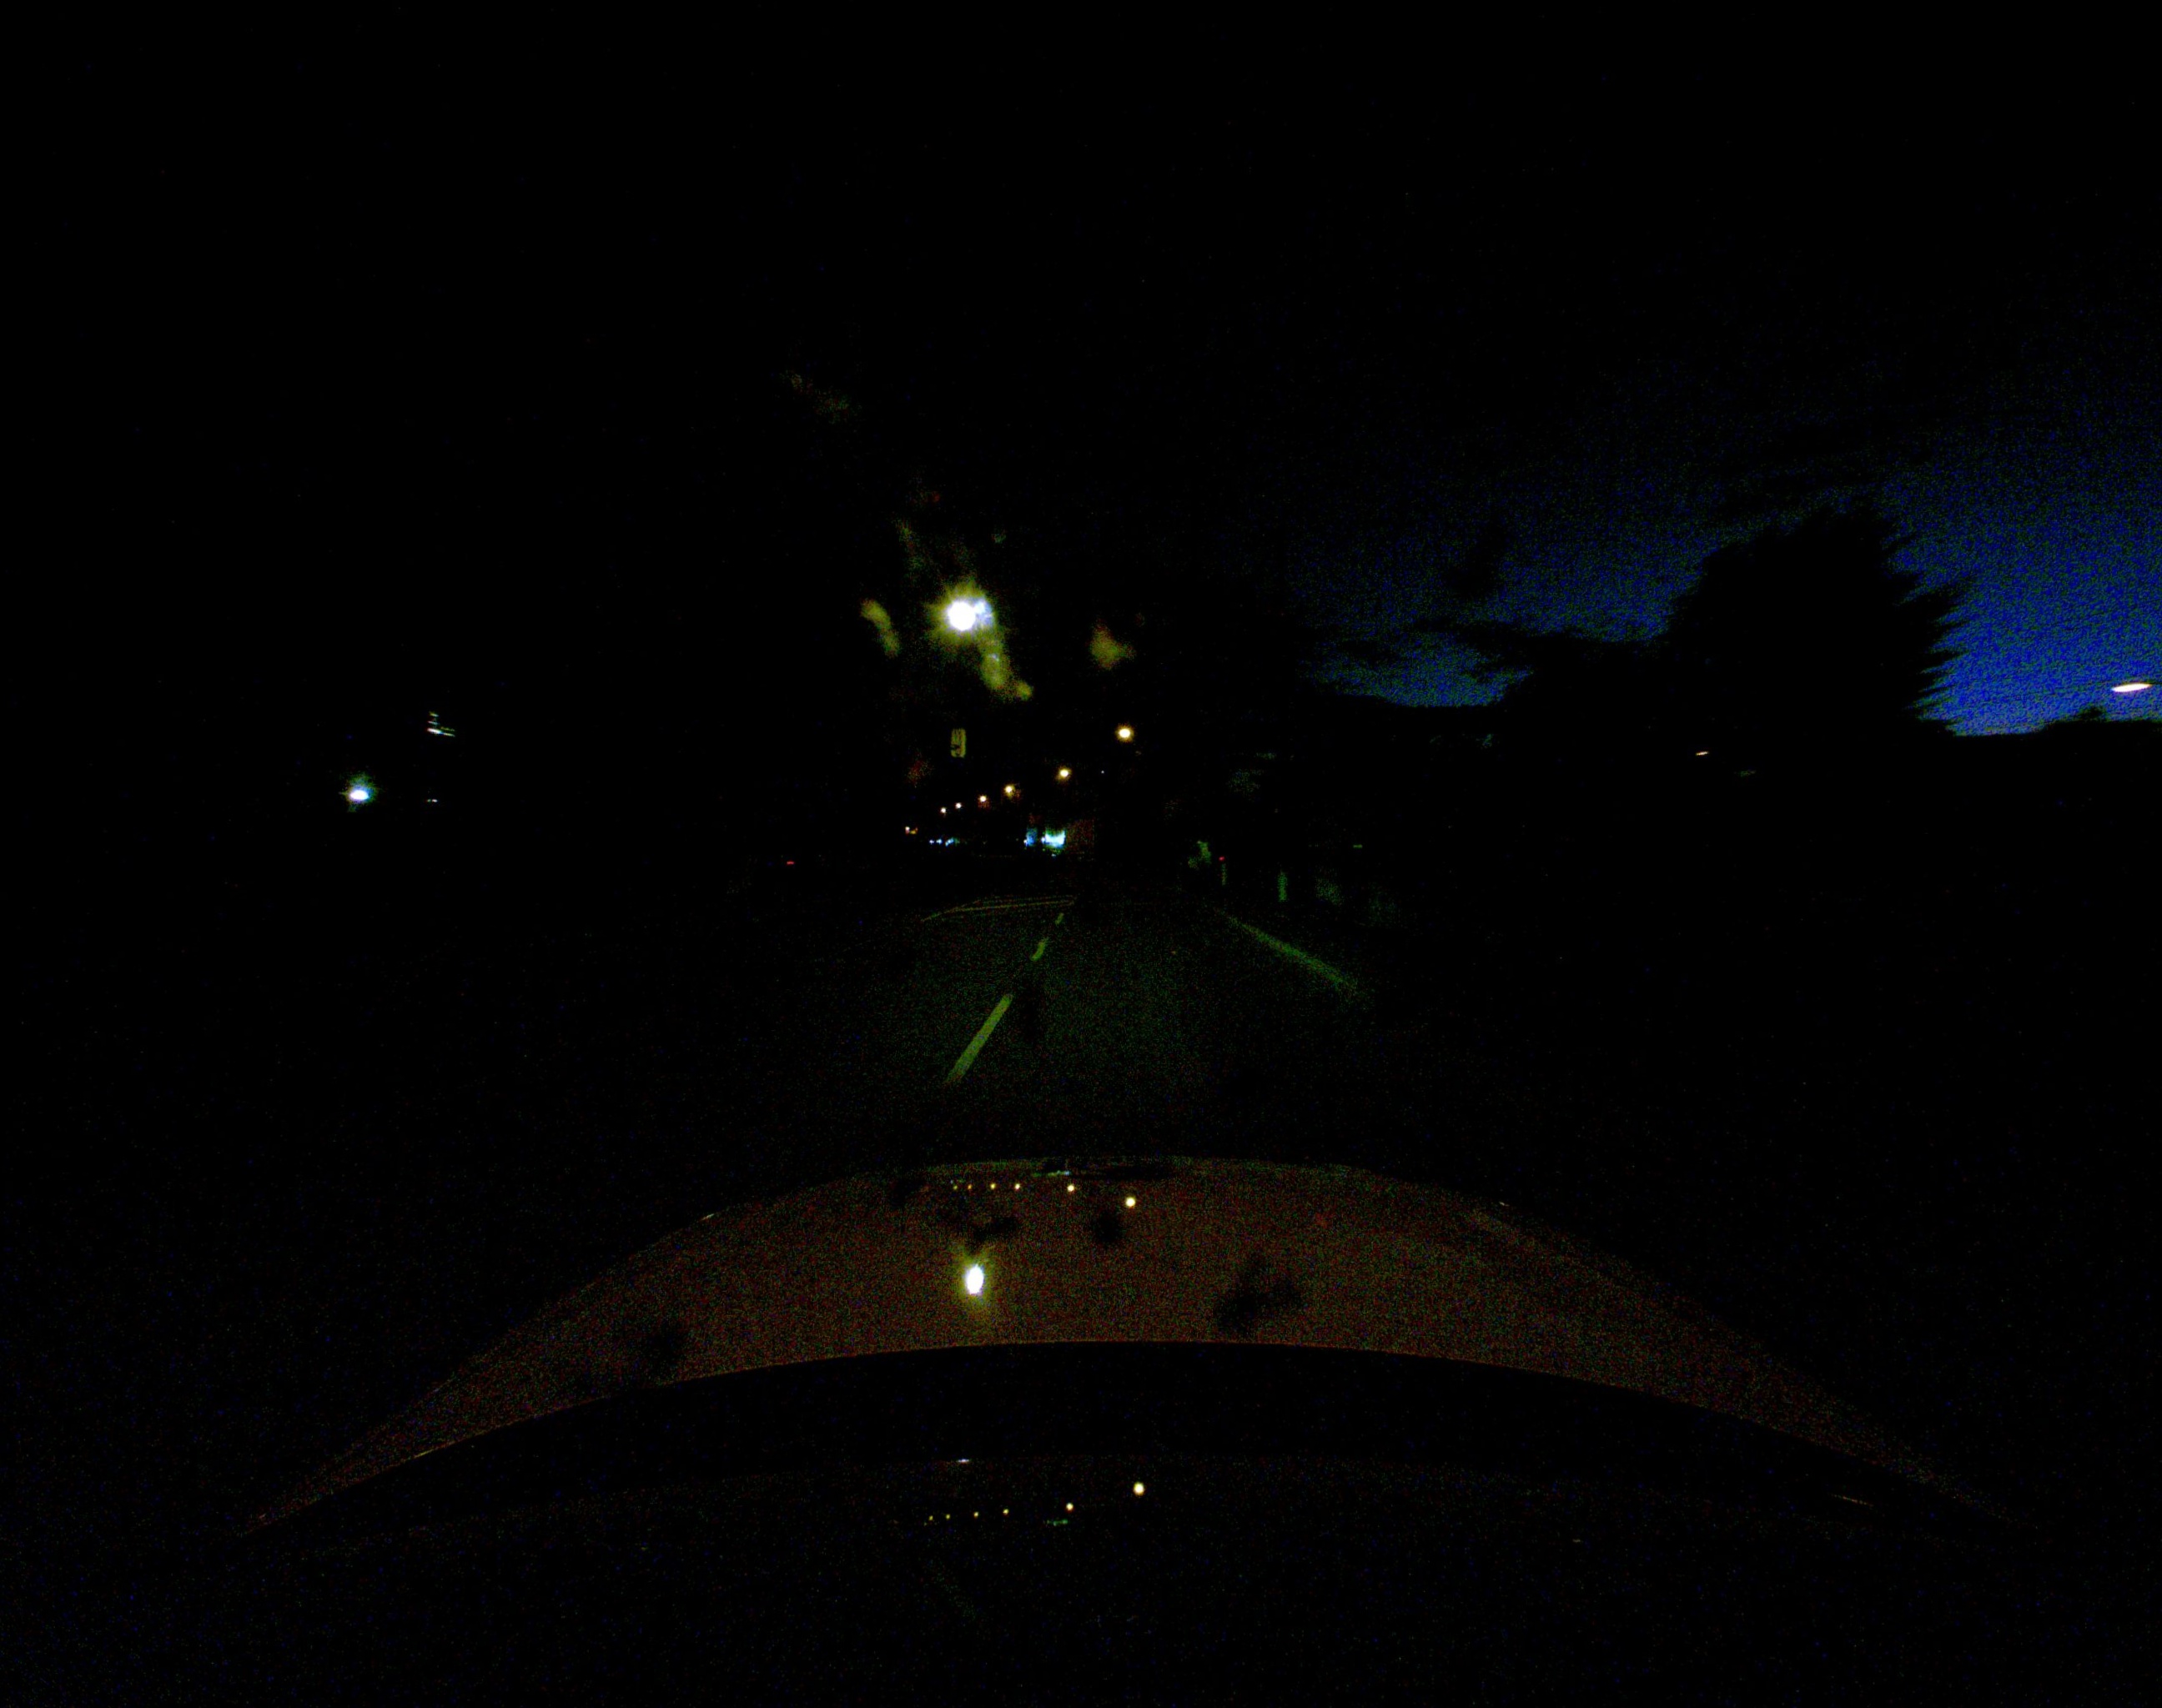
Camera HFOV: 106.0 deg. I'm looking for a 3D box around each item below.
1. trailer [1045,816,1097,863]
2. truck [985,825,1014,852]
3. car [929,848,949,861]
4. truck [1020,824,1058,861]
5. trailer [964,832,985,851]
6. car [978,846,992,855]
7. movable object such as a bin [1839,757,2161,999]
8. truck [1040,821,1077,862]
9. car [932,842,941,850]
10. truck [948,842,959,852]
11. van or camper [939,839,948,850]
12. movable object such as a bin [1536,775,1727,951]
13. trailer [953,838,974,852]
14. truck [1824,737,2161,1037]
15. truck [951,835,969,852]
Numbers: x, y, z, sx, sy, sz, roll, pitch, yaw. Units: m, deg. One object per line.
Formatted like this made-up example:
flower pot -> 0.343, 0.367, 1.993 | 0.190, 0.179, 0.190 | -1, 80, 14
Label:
trailer -> -1.176, -1.275, 76.432 | 2.808, 3.983, 13.930 | -1, 1, -9
truck -> -12.733, -2.299, 125.906 | 3.522, 3.983, 10.304 | -1, 1, -11
car -> -18.429, 0.105, 105.668 | 1.998, 1.636, 4.748 | 1, 0, -16
truck -> -4.935, -1.307, 93.522 | 2.832, 3.983, 10.300 | -1, 1, -12
trailer -> -20.172, -2.337, 153.404 | 2.693, 3.464, 7.764 | 1, 0, -17
car -> -16.635, -0.646, 140.801 | 1.855, 1.519, 3.800 | -1, 1, -14
movable object such as a bin -> 13.249, 0.283, 11.120 | 2.220, 2.724, 3.865 | 1, 0, 0
truck -> -2.374, -1.285, 83.460 | 2.831, 3.983, 6.028 | -1, 1, -10
car -> -40.510, -2.280, 228.062 | 1.997, 2.145, 3.980 | 0, 1, -15
truck -> -29.399, -1.663, 187.639 | 1.997, 2.407, 5.267 | 0, 1, -15
van or camper -> -35.244, -2.434, 208.495 | 1.996, 2.581, 4.892 | 0, 1, -14
movable object such as a bin -> 8.031, 0.129, 11.988 | 1.679, 2.383, 1.611 | 1, 0, -10
trailer -> -24.421, -1.817, 169.080 | 3.190, 2.748, 10.662 | -1, 1, -15
truck -> 9.786, 0.283, 6.083 | 2.174, 2.423, 7.323 | 1, 0, 4
truck -> -26.218, -2.225, 175.954 | 3.157, 3.463, 6.640 | -1, 1, -15
